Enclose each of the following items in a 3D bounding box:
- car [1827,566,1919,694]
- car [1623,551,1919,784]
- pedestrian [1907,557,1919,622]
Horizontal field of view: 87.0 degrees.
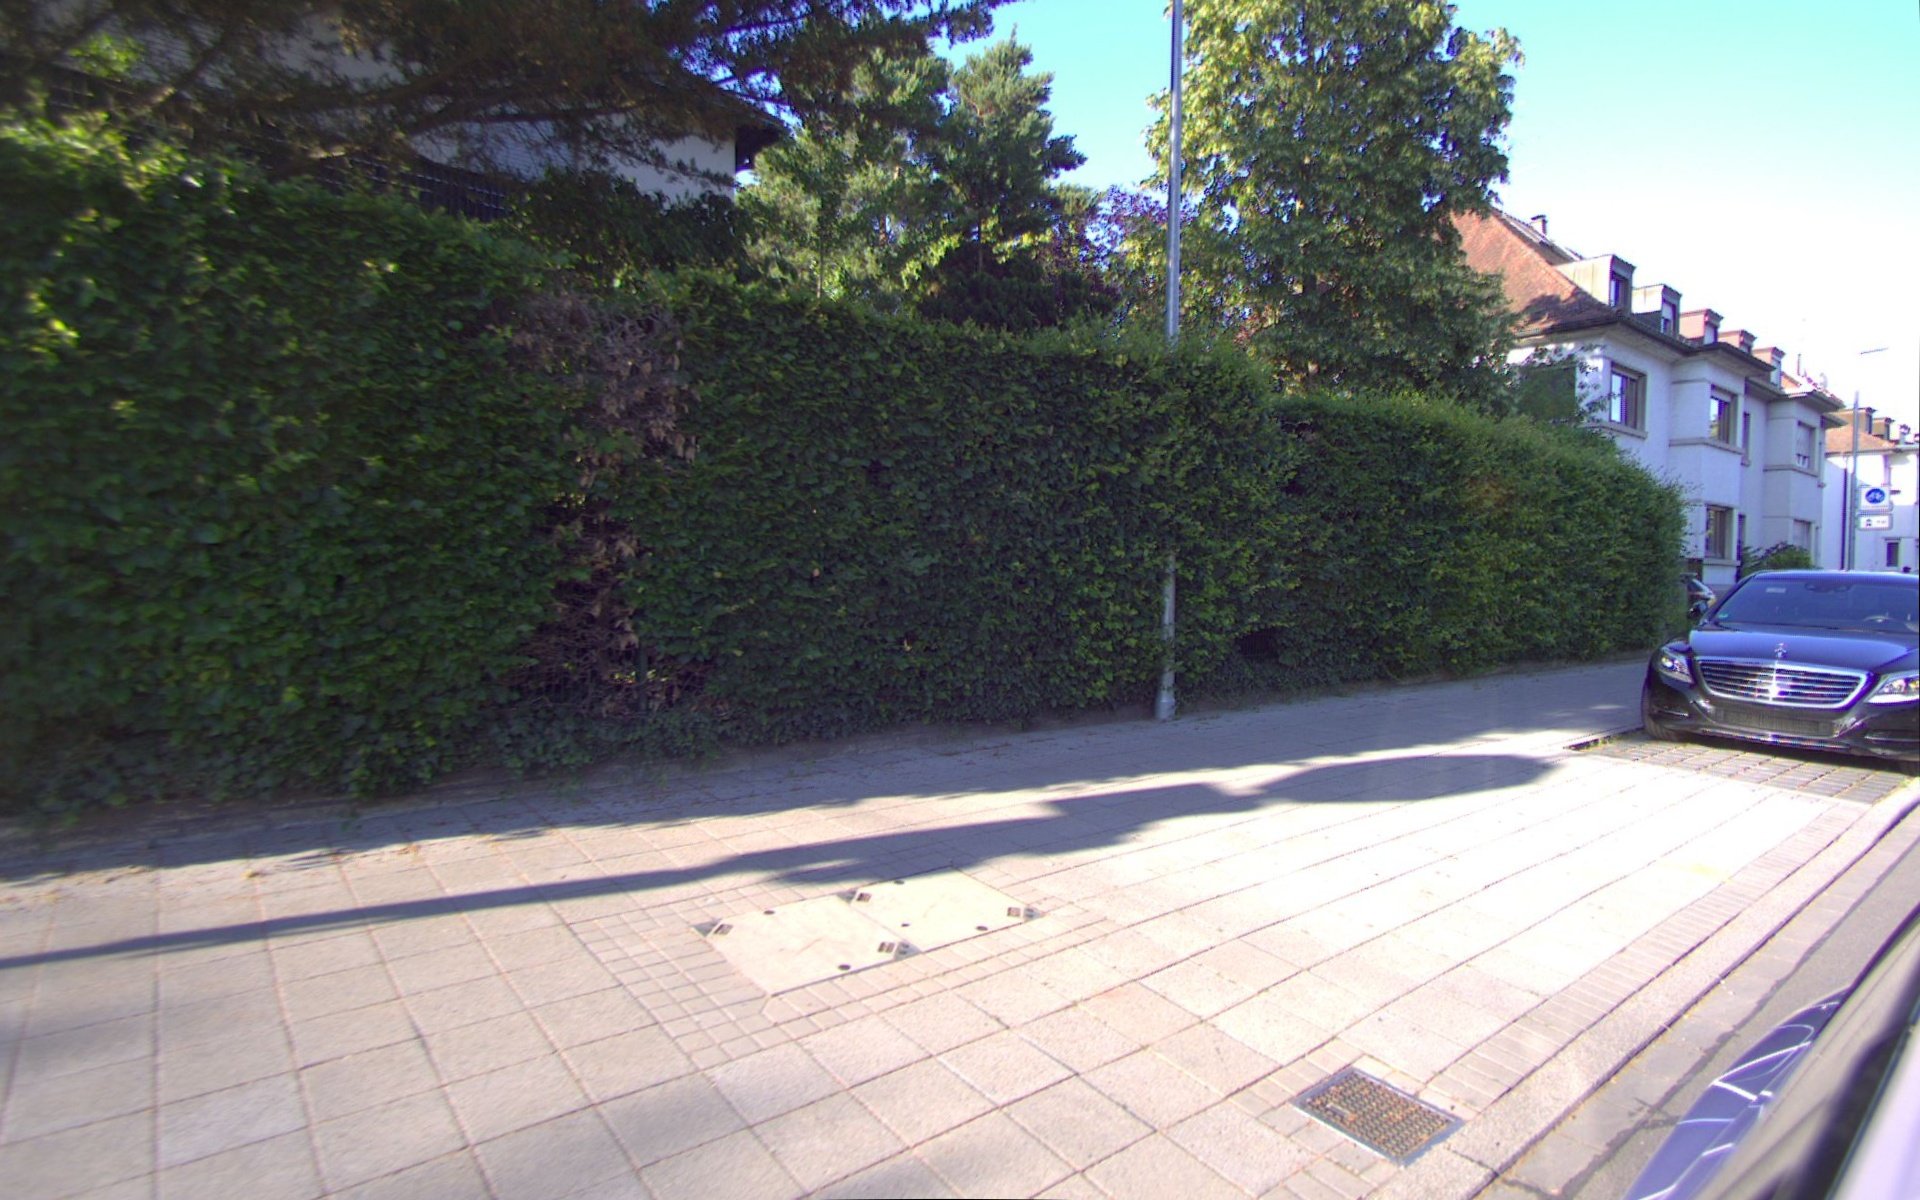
[{"bbox_3d":[12.707,0.327,12.957,3.929,1.496,1.783,-1,0,-40],"label":"car"},{"bbox_3d":[7.785,0.393,8.921,4.831,1.516,2.008,-1,4,-42],"label":"car"},{"bbox_3d":[28.028,-0.317,29.420,0.809,1.869,0.587,-2,1,-37],"label":"pedestrian"}]
